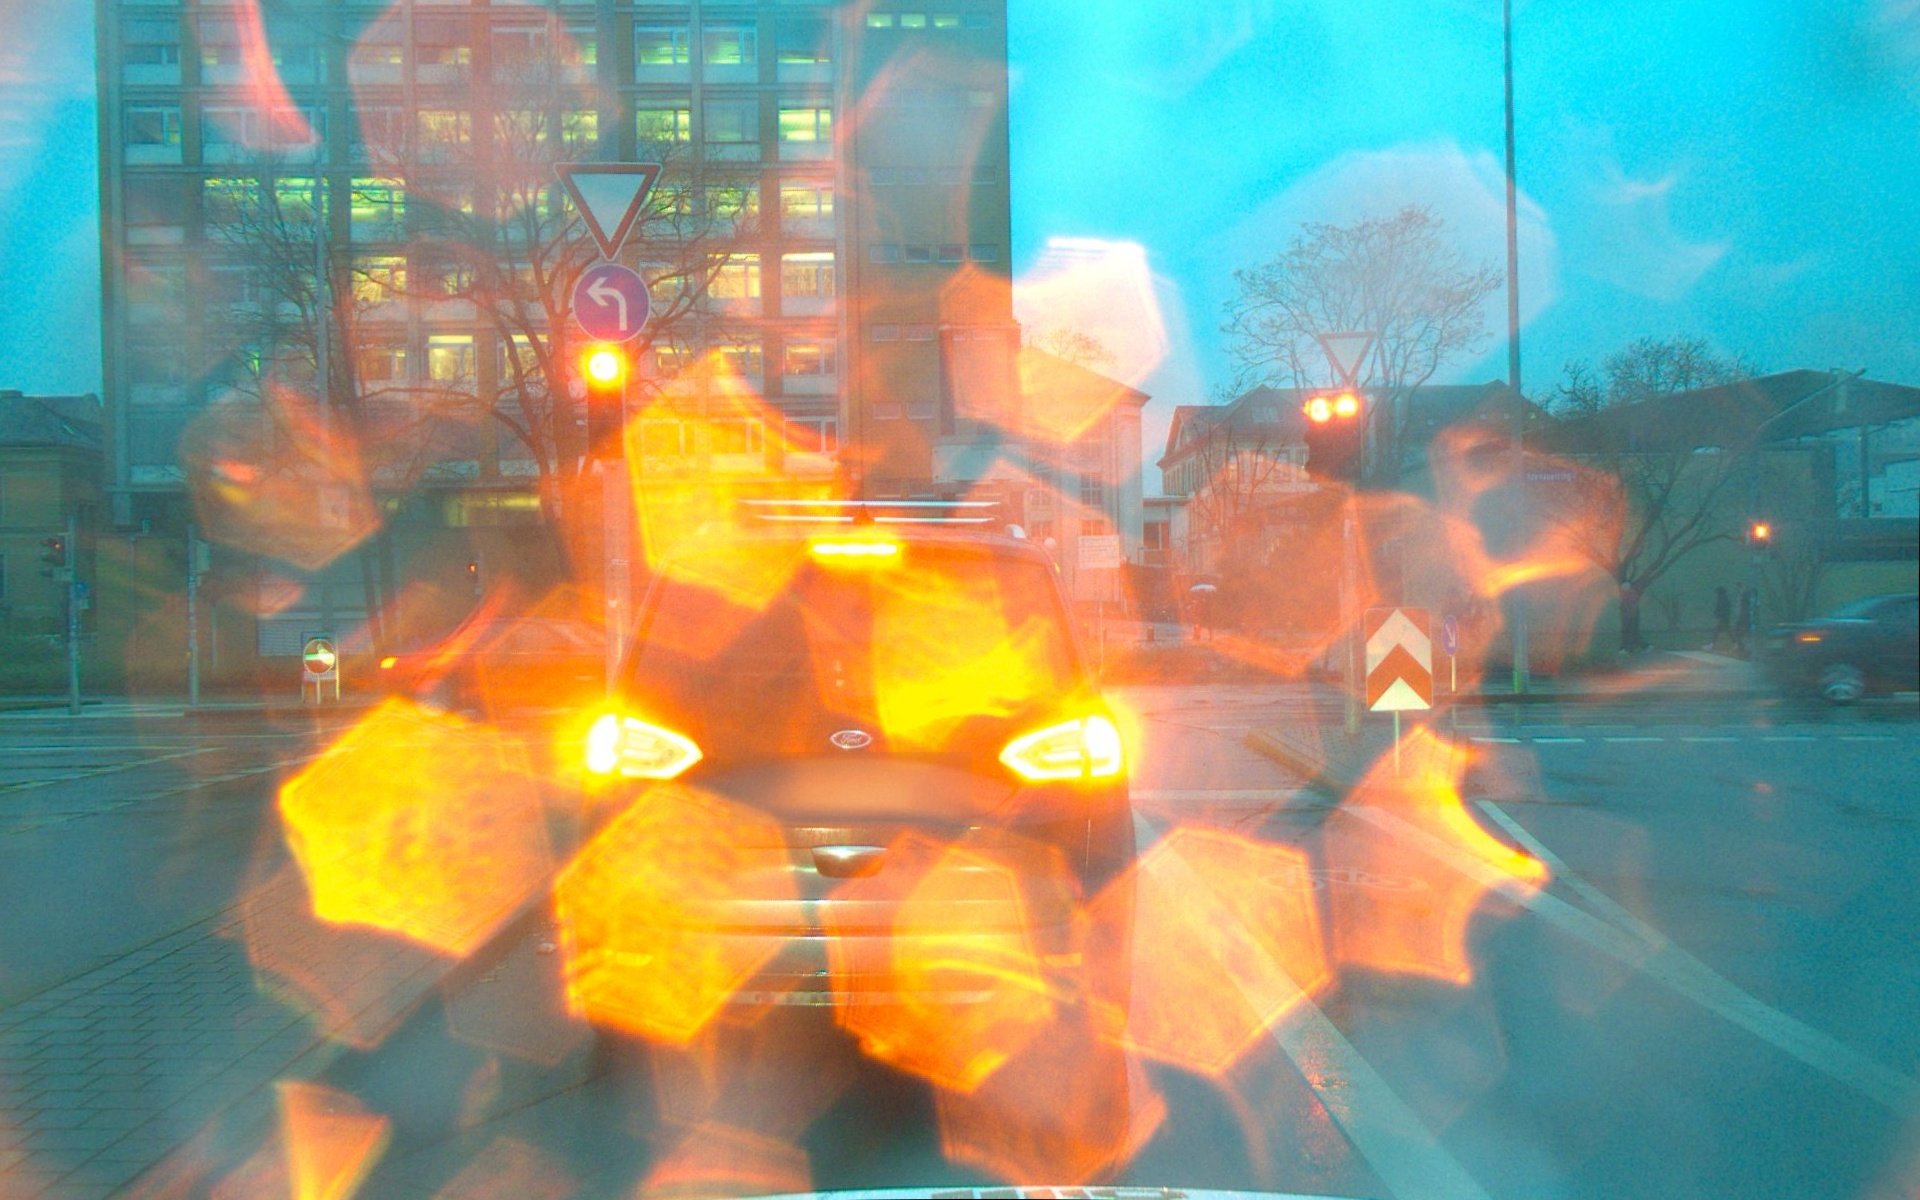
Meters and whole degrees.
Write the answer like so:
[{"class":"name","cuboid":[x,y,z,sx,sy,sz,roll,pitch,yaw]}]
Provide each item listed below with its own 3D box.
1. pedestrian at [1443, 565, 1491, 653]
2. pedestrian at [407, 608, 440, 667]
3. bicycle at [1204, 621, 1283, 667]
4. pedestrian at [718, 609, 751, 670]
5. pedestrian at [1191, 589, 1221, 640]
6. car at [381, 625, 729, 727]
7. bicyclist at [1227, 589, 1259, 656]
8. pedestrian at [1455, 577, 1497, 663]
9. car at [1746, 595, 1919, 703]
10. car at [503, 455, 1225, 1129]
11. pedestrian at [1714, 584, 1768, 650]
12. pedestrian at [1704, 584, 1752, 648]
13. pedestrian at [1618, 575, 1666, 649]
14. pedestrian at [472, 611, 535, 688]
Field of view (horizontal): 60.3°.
[{"class":"pedestrian","cuboid":[12.590,0.218,41.101,0.875,2.150,0.886,-2,0,-1]},{"class":"pedestrian","cuboid":[-15.892,1.113,49.004,0.625,1.718,0.637,-2,0,16]},{"class":"bicycle","cuboid":[7.101,1.104,41.455,1.843,1.066,0.660,-2,0,18]},{"class":"pedestrian","cuboid":[-6.347,1.109,46.530,0.743,1.656,0.558,-2,0,12]},{"class":"pedestrian","cuboid":[8.096,0.478,54.484,0.706,1.656,0.760,-2,0,32]},{"class":"car","cuboid":[-5.930,1.105,24.415,4.583,1.324,1.940,-2,-1,12]},{"class":"bicyclist","cuboid":[7.094,0.560,41.443,0.670,1.627,0.660,-2,0,18]},{"class":"pedestrian","cuboid":[13.113,0.500,42.075,0.874,2.150,0.886,-2,0,11]},{"class":"car","cuboid":[12.453,0.598,21.494,3.674,1.324,1.702,-2,-1,8]},{"class":"car","cuboid":[-0.287,0.539,6.543,1.953,1.821,3.999,1,0,-1]},{"class":"pedestrian","cuboid":[19.182,0.414,40.647,0.905,1.559,1.044,-2,0,9]},{"class":"pedestrian","cuboid":[19.346,0.406,41.675,0.874,1.559,0.886,-2,0,11]},{"class":"pedestrian","cuboid":[17.259,0.297,41.864,0.975,1.831,0.920,-2,0,17]},{"class":"pedestrian","cuboid":[-11.764,1.267,42.612,0.981,1.874,1.139,-2,2,22]}]
